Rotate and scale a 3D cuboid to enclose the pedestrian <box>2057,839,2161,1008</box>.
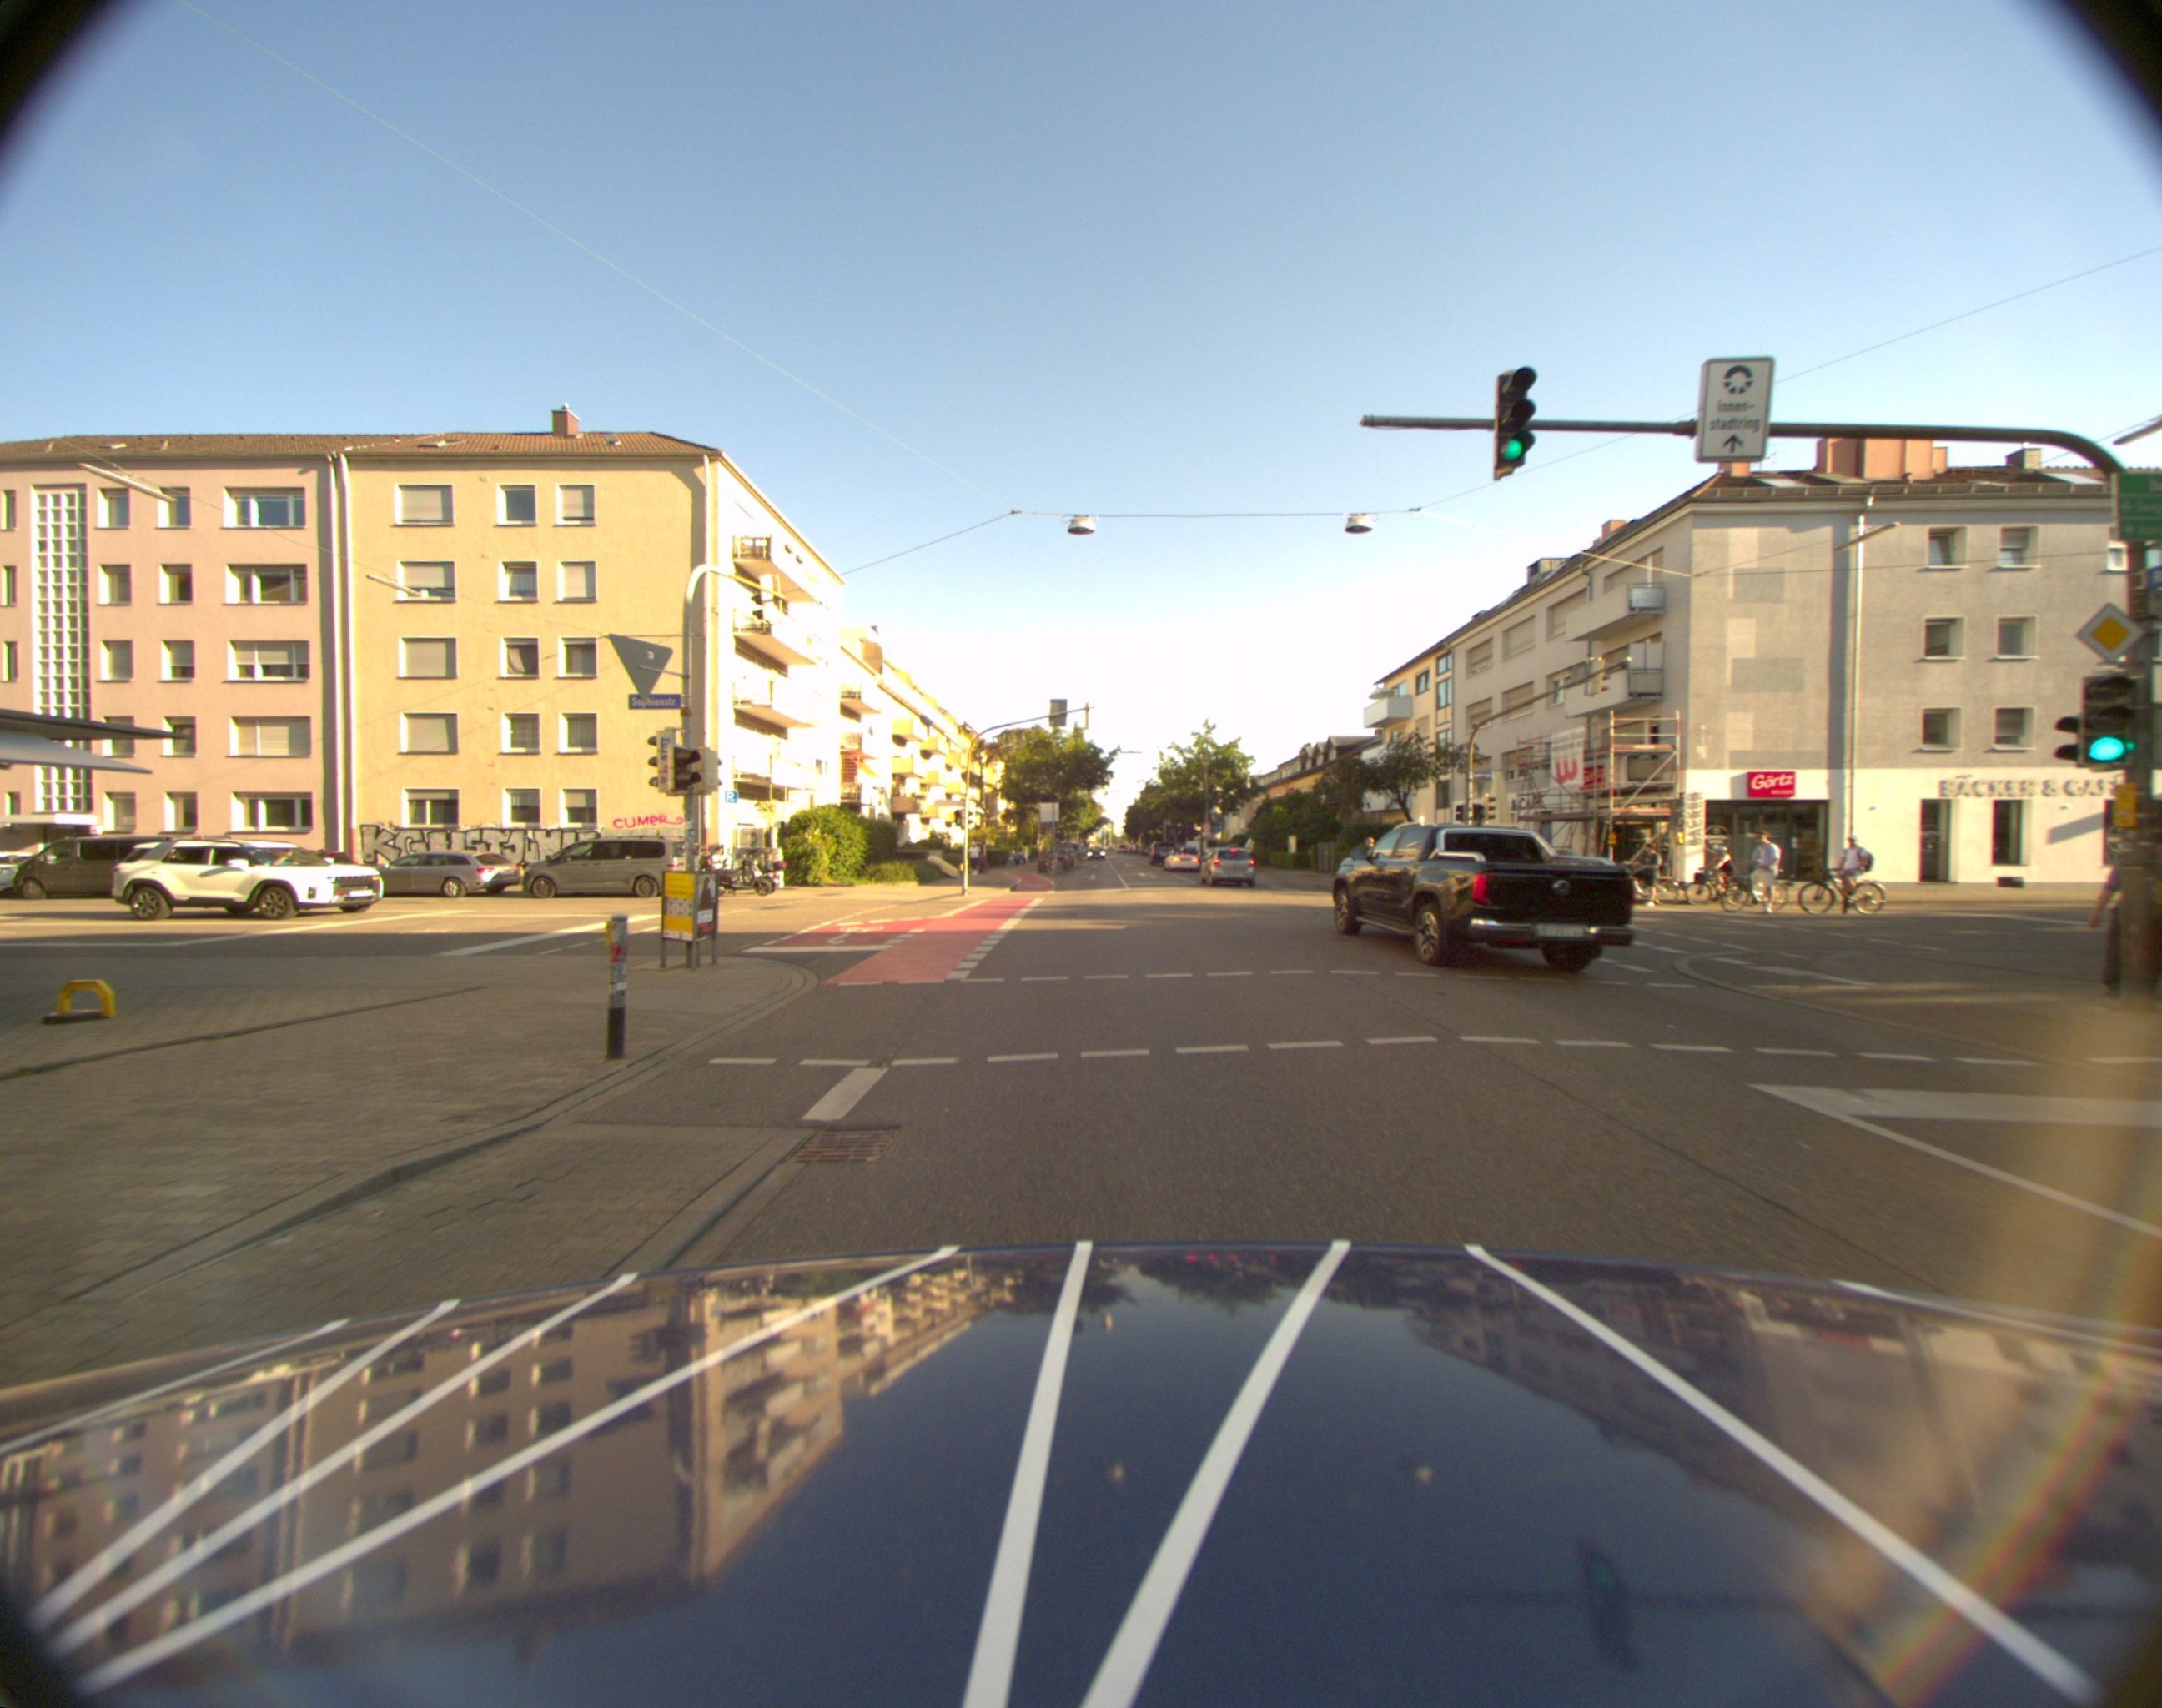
[{"bbox_3d":[10.693,0.676,7.723,0.750,1.648,0.608,0,2,-6],"label":"pedestrian"}]

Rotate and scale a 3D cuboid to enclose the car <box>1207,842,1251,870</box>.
[{"bbox_3d":[8.901,0.089,46.010,1.810,1.605,3.950,0,1,-1],"label":"car"}]

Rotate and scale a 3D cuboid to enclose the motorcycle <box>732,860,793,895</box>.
[{"bbox_3d":[-10.390,0.770,24.820,1.698,1.105,0.594,-1,2,2],"label":"motorcycle"}]

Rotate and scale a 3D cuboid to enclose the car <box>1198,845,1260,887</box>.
[{"bbox_3d":[5.767,0.415,30.048,1.809,1.548,4.000,0,1,2],"label":"car"}]

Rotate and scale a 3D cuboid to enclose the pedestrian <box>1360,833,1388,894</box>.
[{"bbox_3d":[9.698,0.296,25.173,0.639,2.002,0.739,0,2,2],"label":"pedestrian"}]

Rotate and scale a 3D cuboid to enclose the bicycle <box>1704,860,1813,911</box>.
[{"bbox_3d":[15.805,0.714,17.747,1.999,1.159,0.727,0,0,-5],"label":"bicycle"}]

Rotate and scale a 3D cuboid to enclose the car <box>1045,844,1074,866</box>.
[{"bbox_3d":[-1.472,0.061,53.748,1.744,1.509,3.811,0,1,3],"label":"car"}]

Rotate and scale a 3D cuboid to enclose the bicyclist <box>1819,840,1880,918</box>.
[{"bbox_3d":[17.170,0.541,16.989,0.608,1.711,0.749,0,0,-5],"label":"bicyclist"}]

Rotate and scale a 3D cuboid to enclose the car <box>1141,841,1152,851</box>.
[{"bbox_3d":[10.532,-1.339,122.640,1.642,1.555,3.659,0,1,2],"label":"car"}]

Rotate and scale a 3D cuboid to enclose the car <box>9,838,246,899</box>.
[{"bbox_3d":[-30.464,0.429,24.392,5.073,1.896,1.952,0,1,0],"label":"car"}]

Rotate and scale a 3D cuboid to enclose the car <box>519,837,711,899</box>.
[{"bbox_3d":[-14.728,0.408,24.249,4.841,1.856,1.952,0,2,-1],"label":"car"}]

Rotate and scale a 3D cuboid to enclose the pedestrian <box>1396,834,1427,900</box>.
[{"bbox_3d":[10.271,0.396,23.622,0.645,2.003,0.814,-1,2,2],"label":"pedestrian"}]

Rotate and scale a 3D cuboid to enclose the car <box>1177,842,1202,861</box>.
[{"bbox_3d":[9.607,-0.233,67.318,1.734,1.605,4.197,0,1,2],"label":"car"}]

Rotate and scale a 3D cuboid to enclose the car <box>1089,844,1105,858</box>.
[{"bbox_3d":[1.686,-0.349,82.301,1.641,1.482,4.415,1,1,1],"label":"car"}]

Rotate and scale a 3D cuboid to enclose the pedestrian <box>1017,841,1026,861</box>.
[{"bbox_3d":[-5.091,-0.251,65.228,0.659,1.673,0.831,1,2,7],"label":"pedestrian"}]

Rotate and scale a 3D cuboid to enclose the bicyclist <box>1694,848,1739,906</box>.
[{"bbox_3d":[18.127,0.648,21.679,0.687,1.586,0.751,2,4,20],"label":"bicyclist"}]

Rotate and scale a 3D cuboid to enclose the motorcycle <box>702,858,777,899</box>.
[{"bbox_3d":[-10.651,0.749,23.759,1.992,1.194,0.774,-1,2,-11],"label":"motorcycle"}]

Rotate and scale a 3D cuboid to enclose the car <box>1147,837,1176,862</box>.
[{"bbox_3d":[6.379,-0.393,60.369,1.842,1.866,4.408,0,1,0],"label":"car"}]

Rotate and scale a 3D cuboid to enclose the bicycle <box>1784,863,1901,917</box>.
[{"bbox_3d":[17.004,0.789,16.979,1.999,1.150,0.727,0,0,-5],"label":"bicycle"}]

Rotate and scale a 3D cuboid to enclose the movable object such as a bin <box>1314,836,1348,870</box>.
[{"bbox_3d":[12.978,-0.054,39.450,1.309,1.649,1.180,-4,2,1],"label":"movable object such as a bin"}]

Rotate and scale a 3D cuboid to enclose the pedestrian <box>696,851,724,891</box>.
[{"bbox_3d":[-12.804,0.580,26.245,0.641,1.383,0.594,-1,2,0],"label":"pedestrian"}]

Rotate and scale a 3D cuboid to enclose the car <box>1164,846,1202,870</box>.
[{"bbox_3d":[6.158,0.194,46.220,1.845,1.312,4.441,1,1,2],"label":"car"}]

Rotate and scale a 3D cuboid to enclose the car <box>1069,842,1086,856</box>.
[{"bbox_3d":[-0.430,-0.601,88.742,1.744,1.509,3.811,0,1,3],"label":"car"}]

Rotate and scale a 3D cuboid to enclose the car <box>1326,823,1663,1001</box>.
[{"bbox_3d":[5.172,0.563,10.597,1.866,1.819,5.226,2,1,1],"label":"car"}]

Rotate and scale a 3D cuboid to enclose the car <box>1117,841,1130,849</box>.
[{"bbox_3d":[8.356,-1.777,150.290,1.843,1.605,4.406,0,1,-6],"label":"car"}]

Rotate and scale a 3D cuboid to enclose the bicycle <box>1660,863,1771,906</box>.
[{"bbox_3d":[18.079,0.853,21.711,2.266,1.083,0.729,2,4,20],"label":"bicycle"}]

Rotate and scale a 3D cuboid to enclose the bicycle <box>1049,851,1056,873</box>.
[{"bbox_3d":[-1.560,0.441,41.965,0.325,1.138,1.799,0,1,-4],"label":"bicycle"}]

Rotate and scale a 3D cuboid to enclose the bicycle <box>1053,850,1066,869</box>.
[{"bbox_3d":[-1.303,0.313,46.772,0.324,1.138,1.802,0,1,15],"label":"bicycle"}]

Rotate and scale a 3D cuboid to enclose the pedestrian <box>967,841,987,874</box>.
[{"bbox_3d":[-5.287,0.186,38.671,0.830,1.673,0.660,1,2,5],"label":"pedestrian"}]

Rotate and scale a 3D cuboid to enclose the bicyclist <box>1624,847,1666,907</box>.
[{"bbox_3d":[15.690,0.623,21.159,0.671,1.643,0.750,0,0,11],"label":"bicyclist"}]

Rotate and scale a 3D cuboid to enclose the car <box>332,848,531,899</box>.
[{"bbox_3d":[-20.745,0.592,24.446,4.620,1.533,1.952,0,2,-1],"label":"car"}]

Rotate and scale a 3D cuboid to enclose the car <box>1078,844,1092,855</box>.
[{"bbox_3d":[0.620,-0.698,110.085,1.744,1.509,3.811,0,1,3],"label":"car"}]

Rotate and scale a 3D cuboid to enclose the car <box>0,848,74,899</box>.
[{"bbox_3d":[-35.969,0.610,24.498,4.289,1.533,1.952,0,2,0],"label":"car"}]

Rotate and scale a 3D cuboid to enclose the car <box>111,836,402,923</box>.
[{"bbox_3d":[-18.222,0.517,16.957,4.351,1.827,1.953,0,1,1],"label":"car"}]

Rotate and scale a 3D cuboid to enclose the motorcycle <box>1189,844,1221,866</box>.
[{"bbox_3d":[8.982,0.026,55.139,1.263,1.526,2.887,0,1,-13],"label":"motorcycle"}]

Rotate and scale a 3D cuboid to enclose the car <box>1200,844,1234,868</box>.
[{"bbox_3d":[9.037,0.078,50.598,1.755,1.526,3.572,0,1,3],"label":"car"}]

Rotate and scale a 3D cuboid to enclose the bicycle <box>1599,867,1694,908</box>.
[{"bbox_3d":[15.722,0.919,21.159,1.996,1.083,0.728,0,0,11],"label":"bicycle"}]

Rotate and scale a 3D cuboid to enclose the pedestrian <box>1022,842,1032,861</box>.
[{"bbox_3d":[-4.779,-0.237,67.207,0.659,1.673,0.831,1,2,7],"label":"pedestrian"}]

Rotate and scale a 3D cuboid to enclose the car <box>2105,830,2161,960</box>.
[{"bbox_3d":[17.460,0.580,10.295,4.483,1.838,1.908,0,1,1],"label":"car"}]
